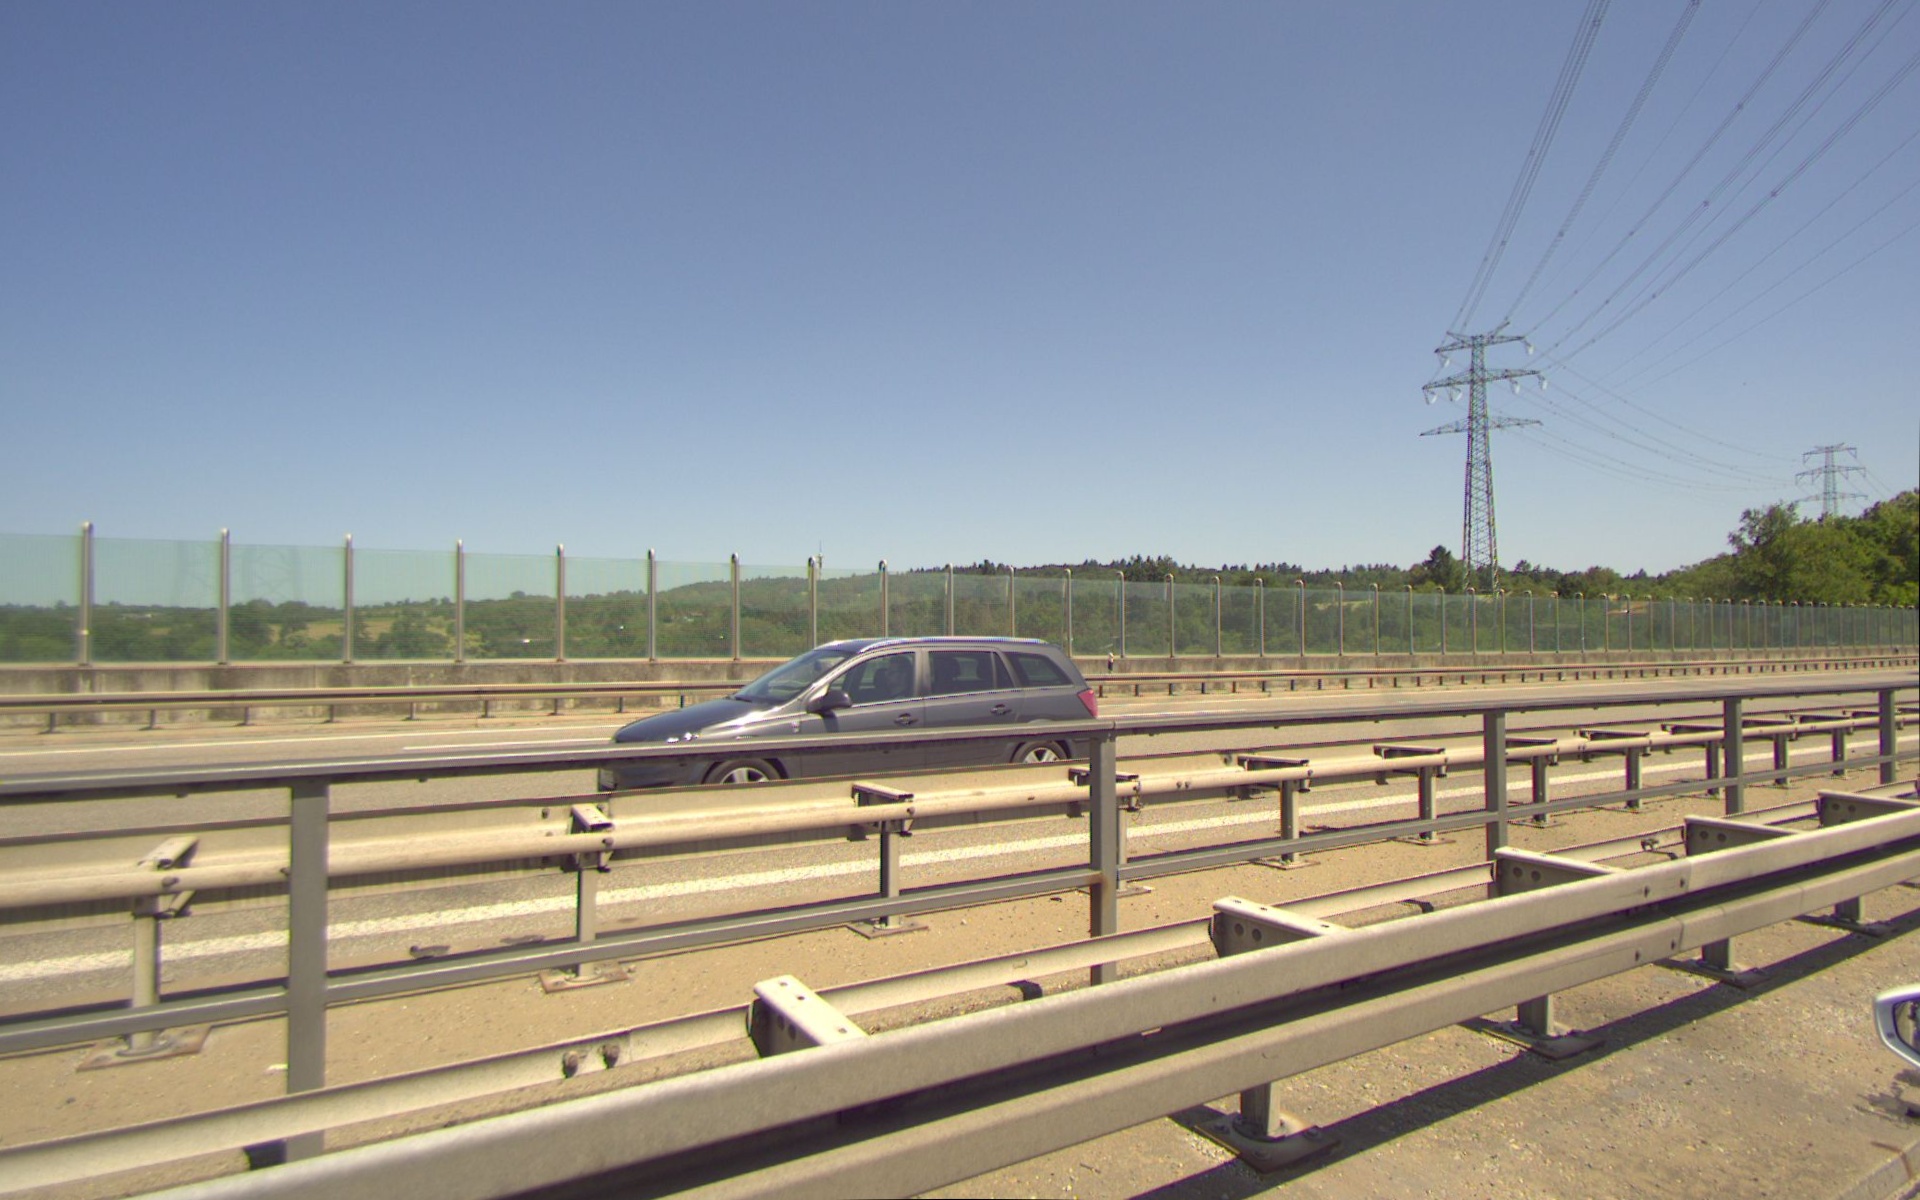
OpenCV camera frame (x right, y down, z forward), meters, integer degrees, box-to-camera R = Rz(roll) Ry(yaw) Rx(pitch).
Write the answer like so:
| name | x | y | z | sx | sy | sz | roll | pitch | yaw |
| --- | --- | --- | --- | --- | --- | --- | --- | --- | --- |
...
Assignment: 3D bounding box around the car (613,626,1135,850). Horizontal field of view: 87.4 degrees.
| name | x | y | z | sx | sy | sz | roll | pitch | yaw |
| --- | --- | --- | --- | --- | --- | --- | --- | --- | --- |
| car | -0.672 | 1.009 | 8.693 | 4.173 | 1.528 | 1.754 | 1 | -2 | -30 |
